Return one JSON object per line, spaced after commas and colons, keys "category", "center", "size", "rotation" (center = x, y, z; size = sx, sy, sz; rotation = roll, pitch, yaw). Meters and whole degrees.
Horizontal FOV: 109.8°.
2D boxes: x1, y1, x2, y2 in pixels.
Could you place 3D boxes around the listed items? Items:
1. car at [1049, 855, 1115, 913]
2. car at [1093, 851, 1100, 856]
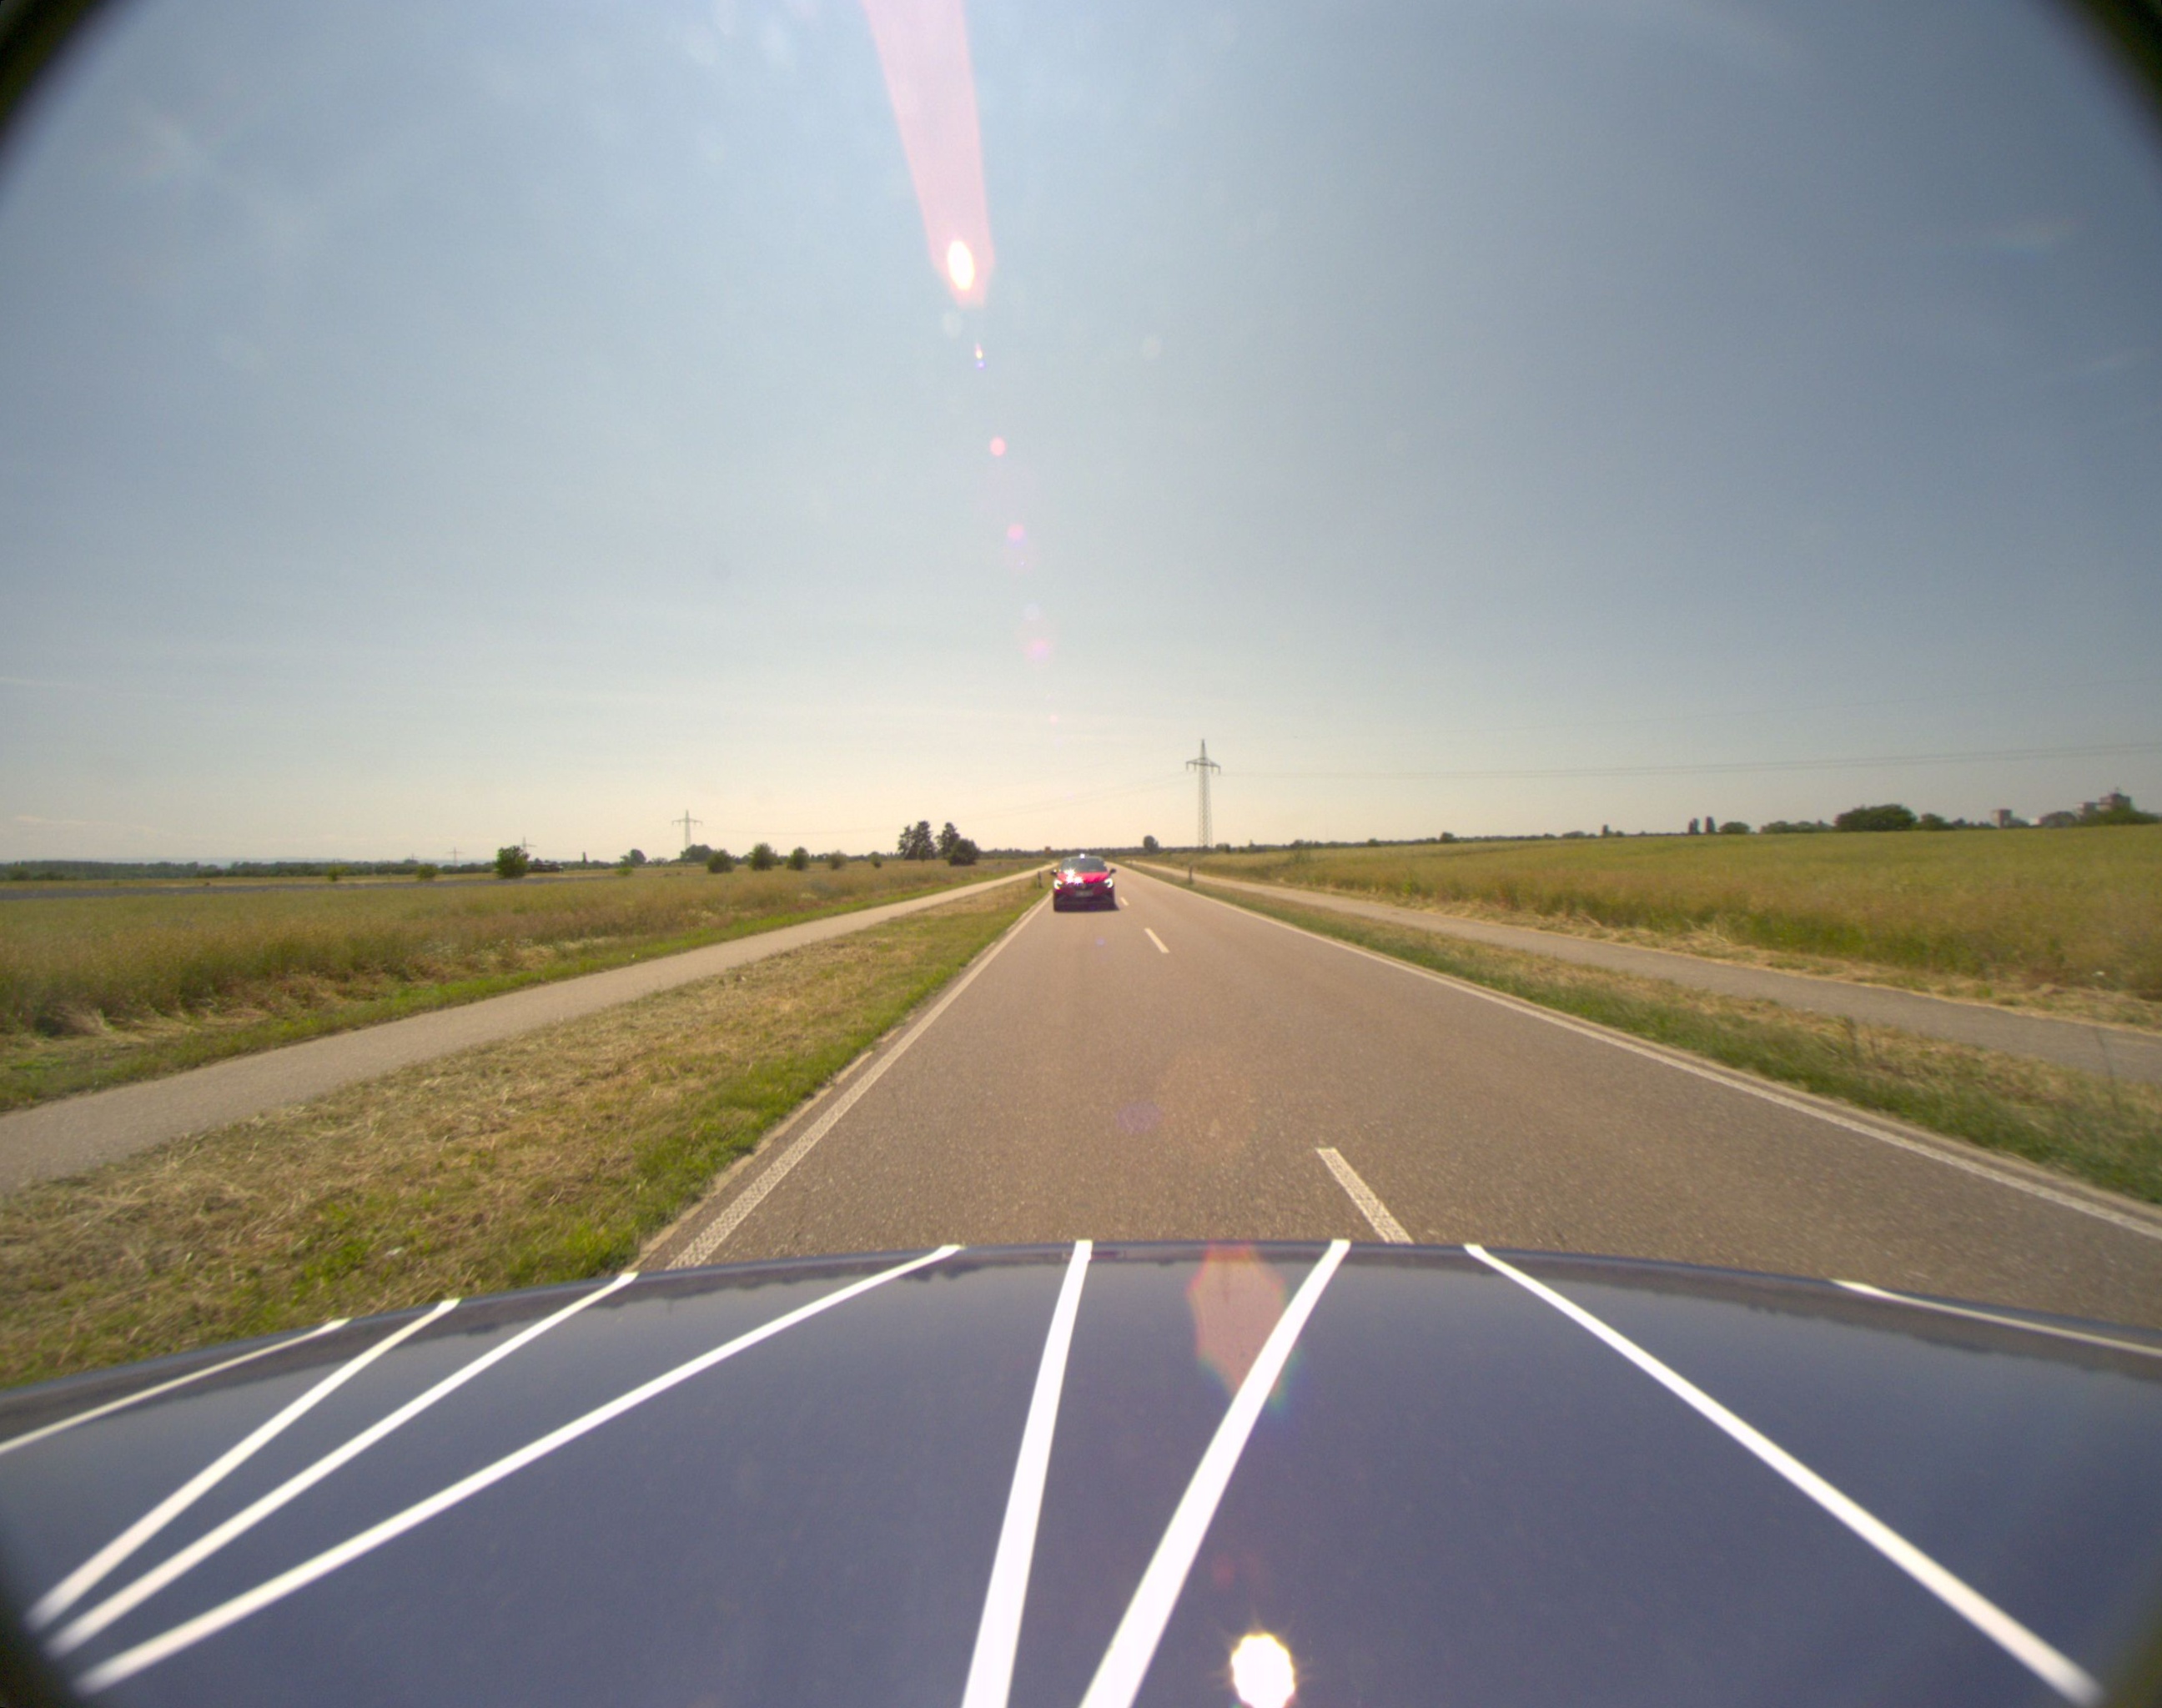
{"category": "car", "center": [0.083, 0.862, 23.786], "size": [1.826, 1.543, 4.449], "rotation": [-2, 1, 1]}
{"category": "car", "center": [4.050, -0.158, 199.116], "size": [1.752, 1.392, 4.031], "rotation": [-2, 1, 1]}
